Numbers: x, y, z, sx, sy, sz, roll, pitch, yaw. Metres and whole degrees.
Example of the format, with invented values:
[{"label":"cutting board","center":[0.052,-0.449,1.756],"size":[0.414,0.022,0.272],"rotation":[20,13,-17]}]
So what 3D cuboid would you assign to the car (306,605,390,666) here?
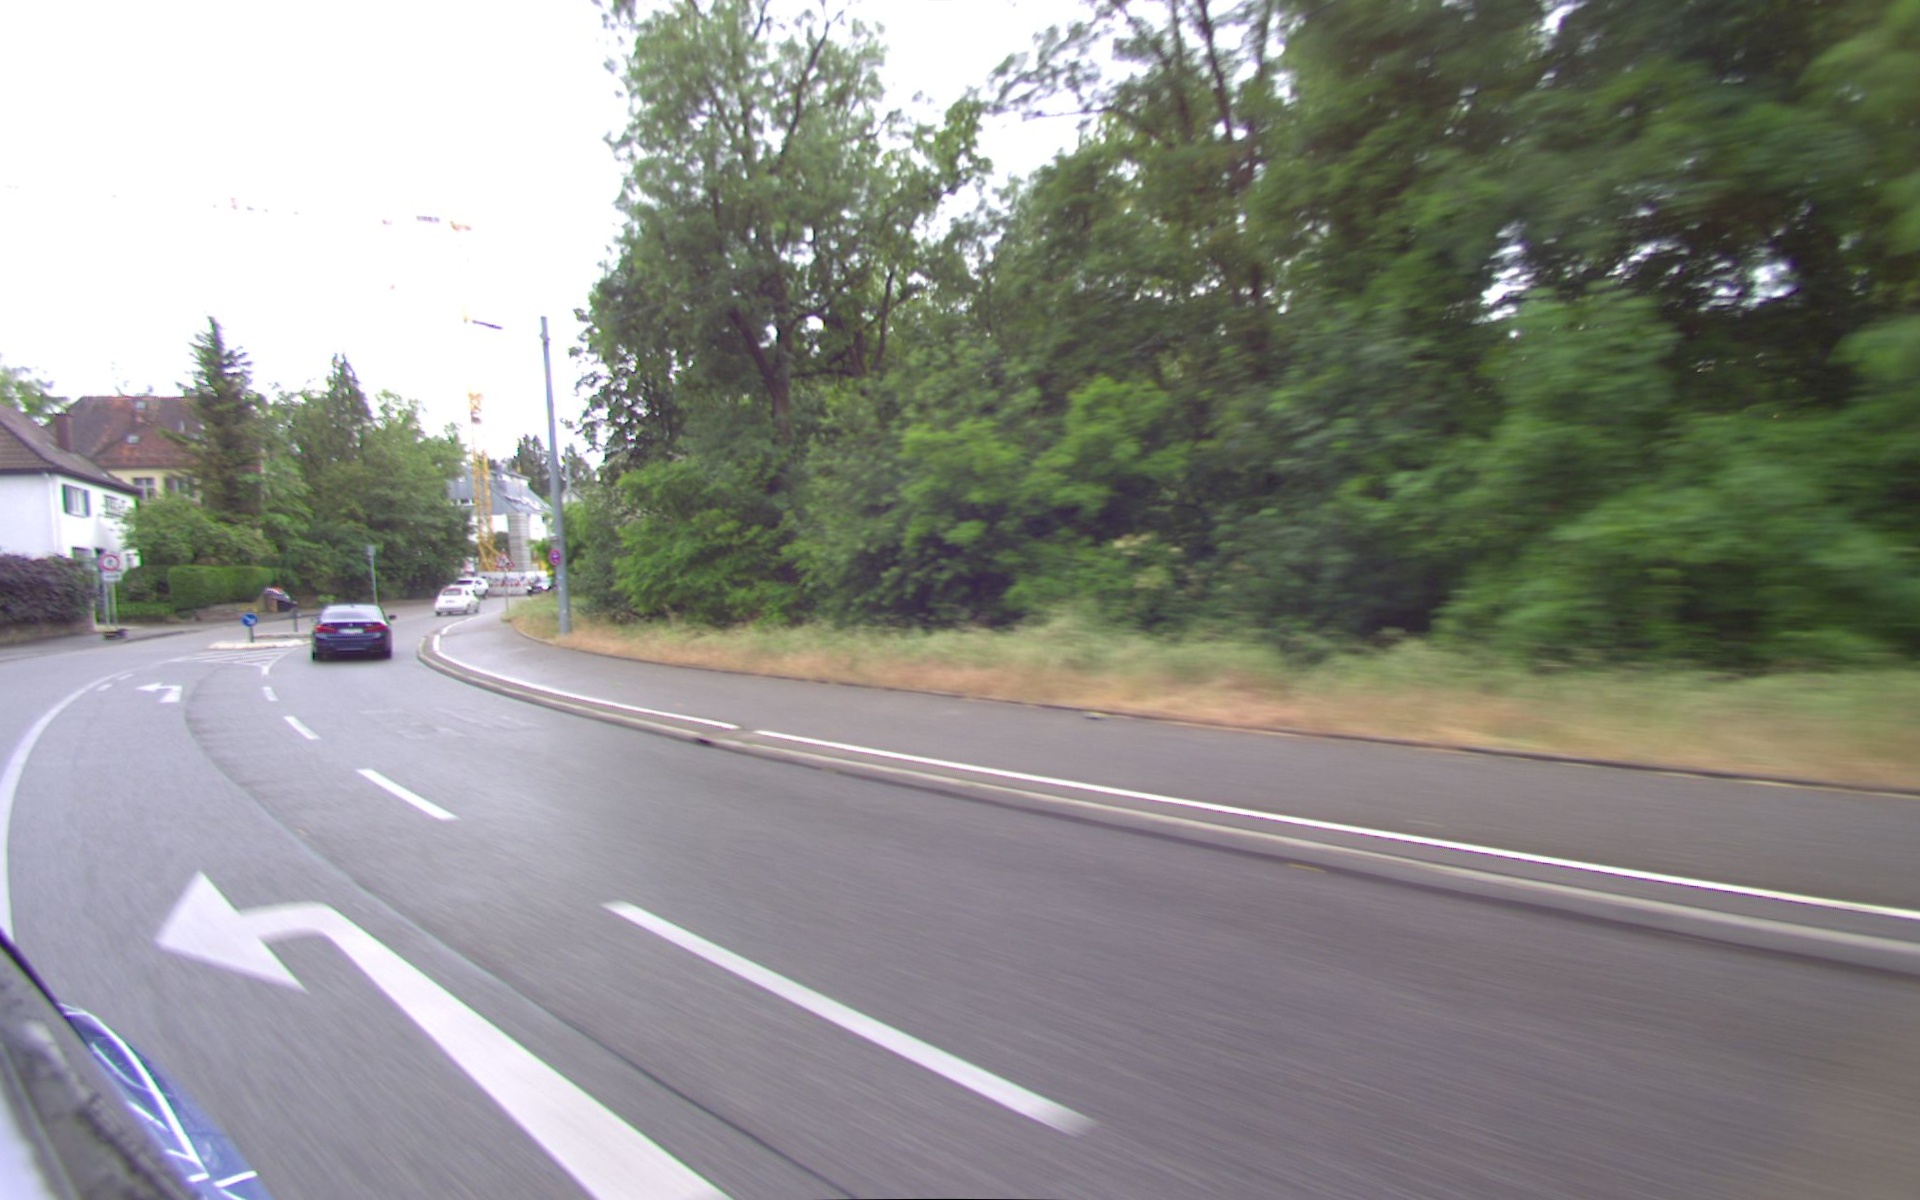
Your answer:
[{"label":"car","center":[-16.881,0.923,28.081],"size":[1.821,1.512,4.646],"rotation":[1,0,-29]}]

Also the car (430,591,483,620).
[{"label":"car","center":[-27.555,0.295,55.488],"size":[1.546,1.488,3.674],"rotation":[0,1,-8]}]

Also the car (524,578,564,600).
[{"label":"car","center":[-33.887,-0.931,82.538],"size":[1.969,1.729,4.005],"rotation":[-1,2,-5]}]

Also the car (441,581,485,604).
[{"label":"car","center":[-36.644,-0.561,74.716],"size":[1.804,1.607,4.008],"rotation":[0,2,-8]}]

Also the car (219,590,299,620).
[{"label":"car","center":[-40.852,0.287,59.036],"size":[3.431,1.422,1.431],"rotation":[-5,3,-14]}]
